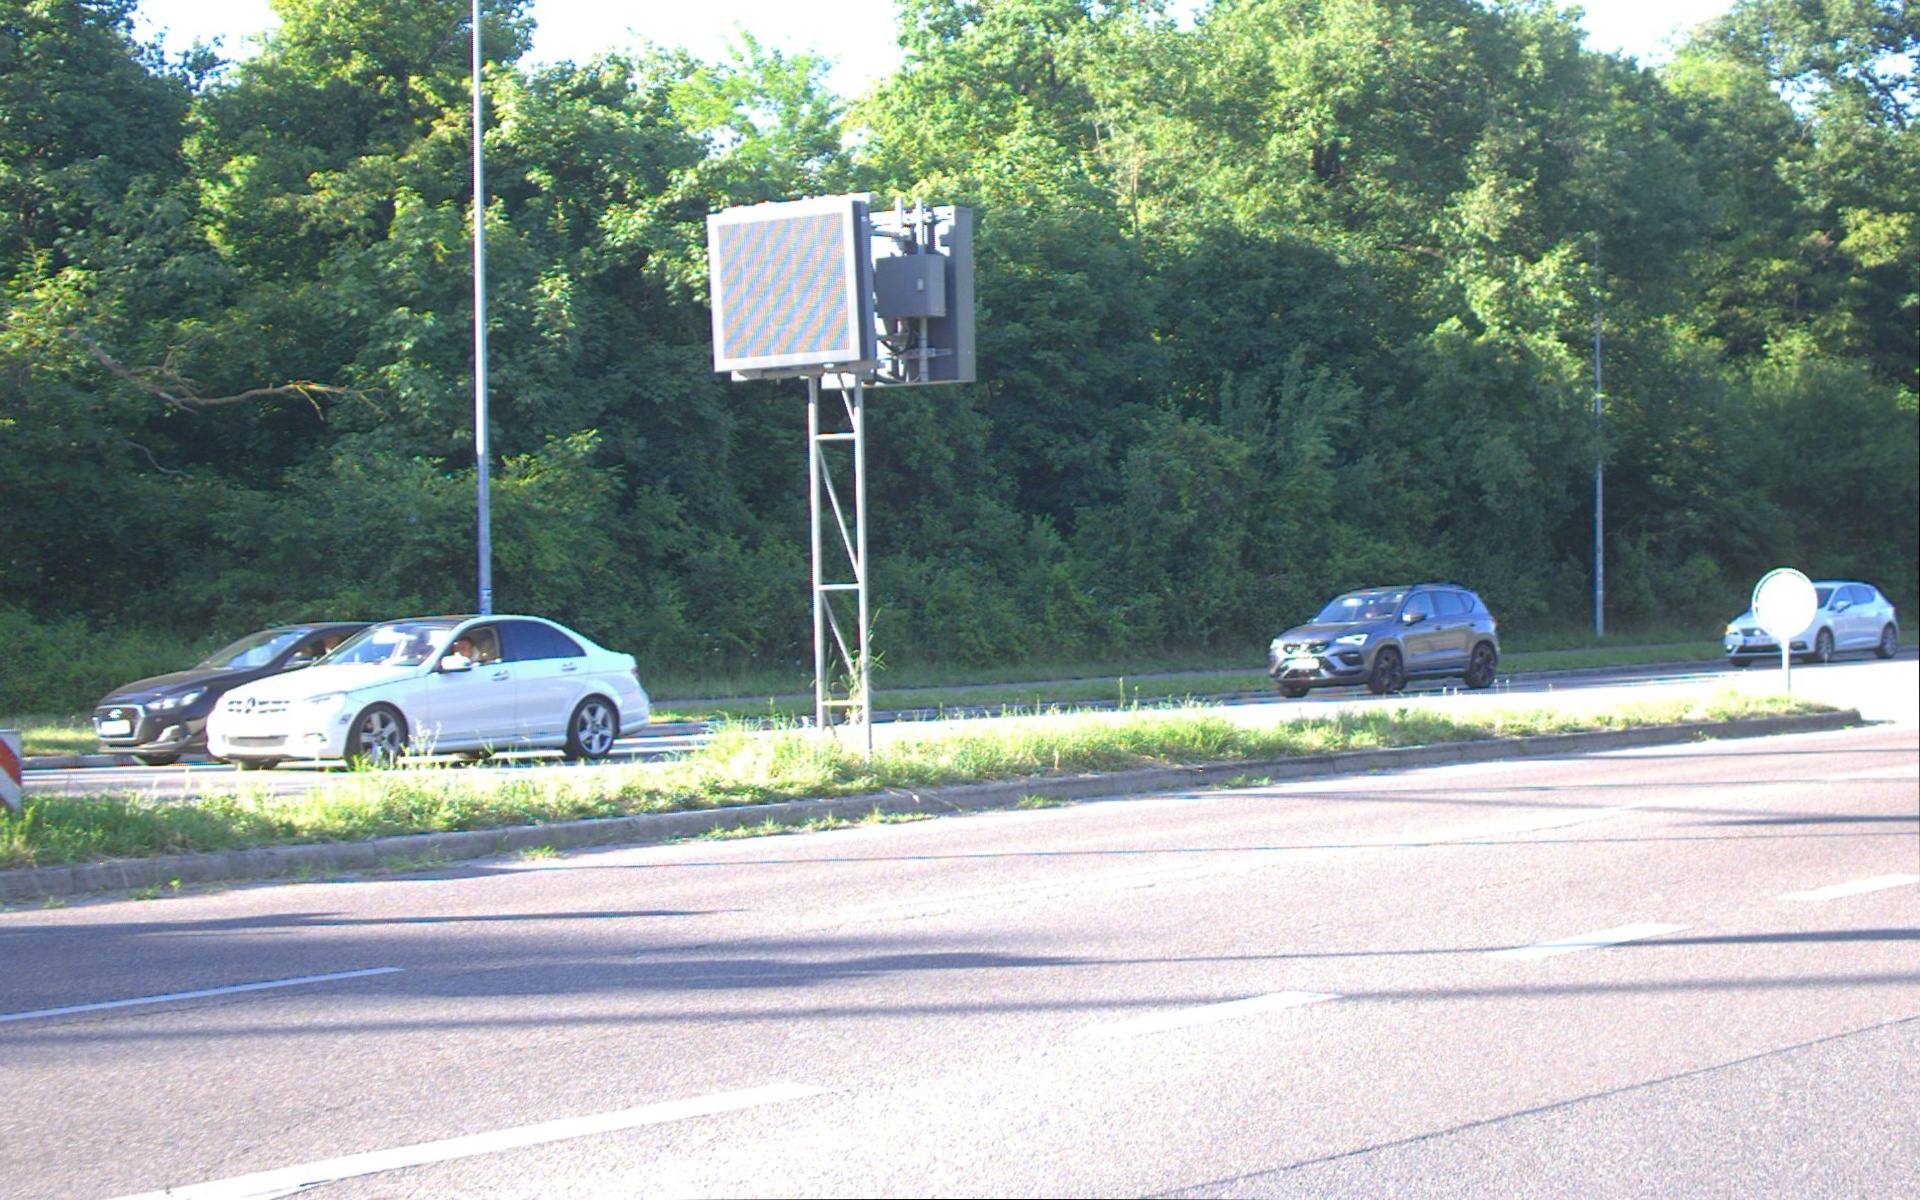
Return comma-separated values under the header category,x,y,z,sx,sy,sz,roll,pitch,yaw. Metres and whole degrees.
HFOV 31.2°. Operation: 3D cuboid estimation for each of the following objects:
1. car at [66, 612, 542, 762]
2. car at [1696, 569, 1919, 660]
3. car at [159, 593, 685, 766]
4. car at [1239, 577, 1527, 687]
category,x,y,z,sx,sy,sz,roll,pitch,yaw
car,-6.772,0.860,35.918,1.998,1.379,4.640,-1,0,41
car,15.259,0.239,61.550,1.998,1.524,4.640,-1,0,43
car,-4.920,0.686,32.082,1.998,1.431,4.797,-1,0,37
car,6.331,0.448,51.066,1.998,1.524,4.640,-1,0,41
